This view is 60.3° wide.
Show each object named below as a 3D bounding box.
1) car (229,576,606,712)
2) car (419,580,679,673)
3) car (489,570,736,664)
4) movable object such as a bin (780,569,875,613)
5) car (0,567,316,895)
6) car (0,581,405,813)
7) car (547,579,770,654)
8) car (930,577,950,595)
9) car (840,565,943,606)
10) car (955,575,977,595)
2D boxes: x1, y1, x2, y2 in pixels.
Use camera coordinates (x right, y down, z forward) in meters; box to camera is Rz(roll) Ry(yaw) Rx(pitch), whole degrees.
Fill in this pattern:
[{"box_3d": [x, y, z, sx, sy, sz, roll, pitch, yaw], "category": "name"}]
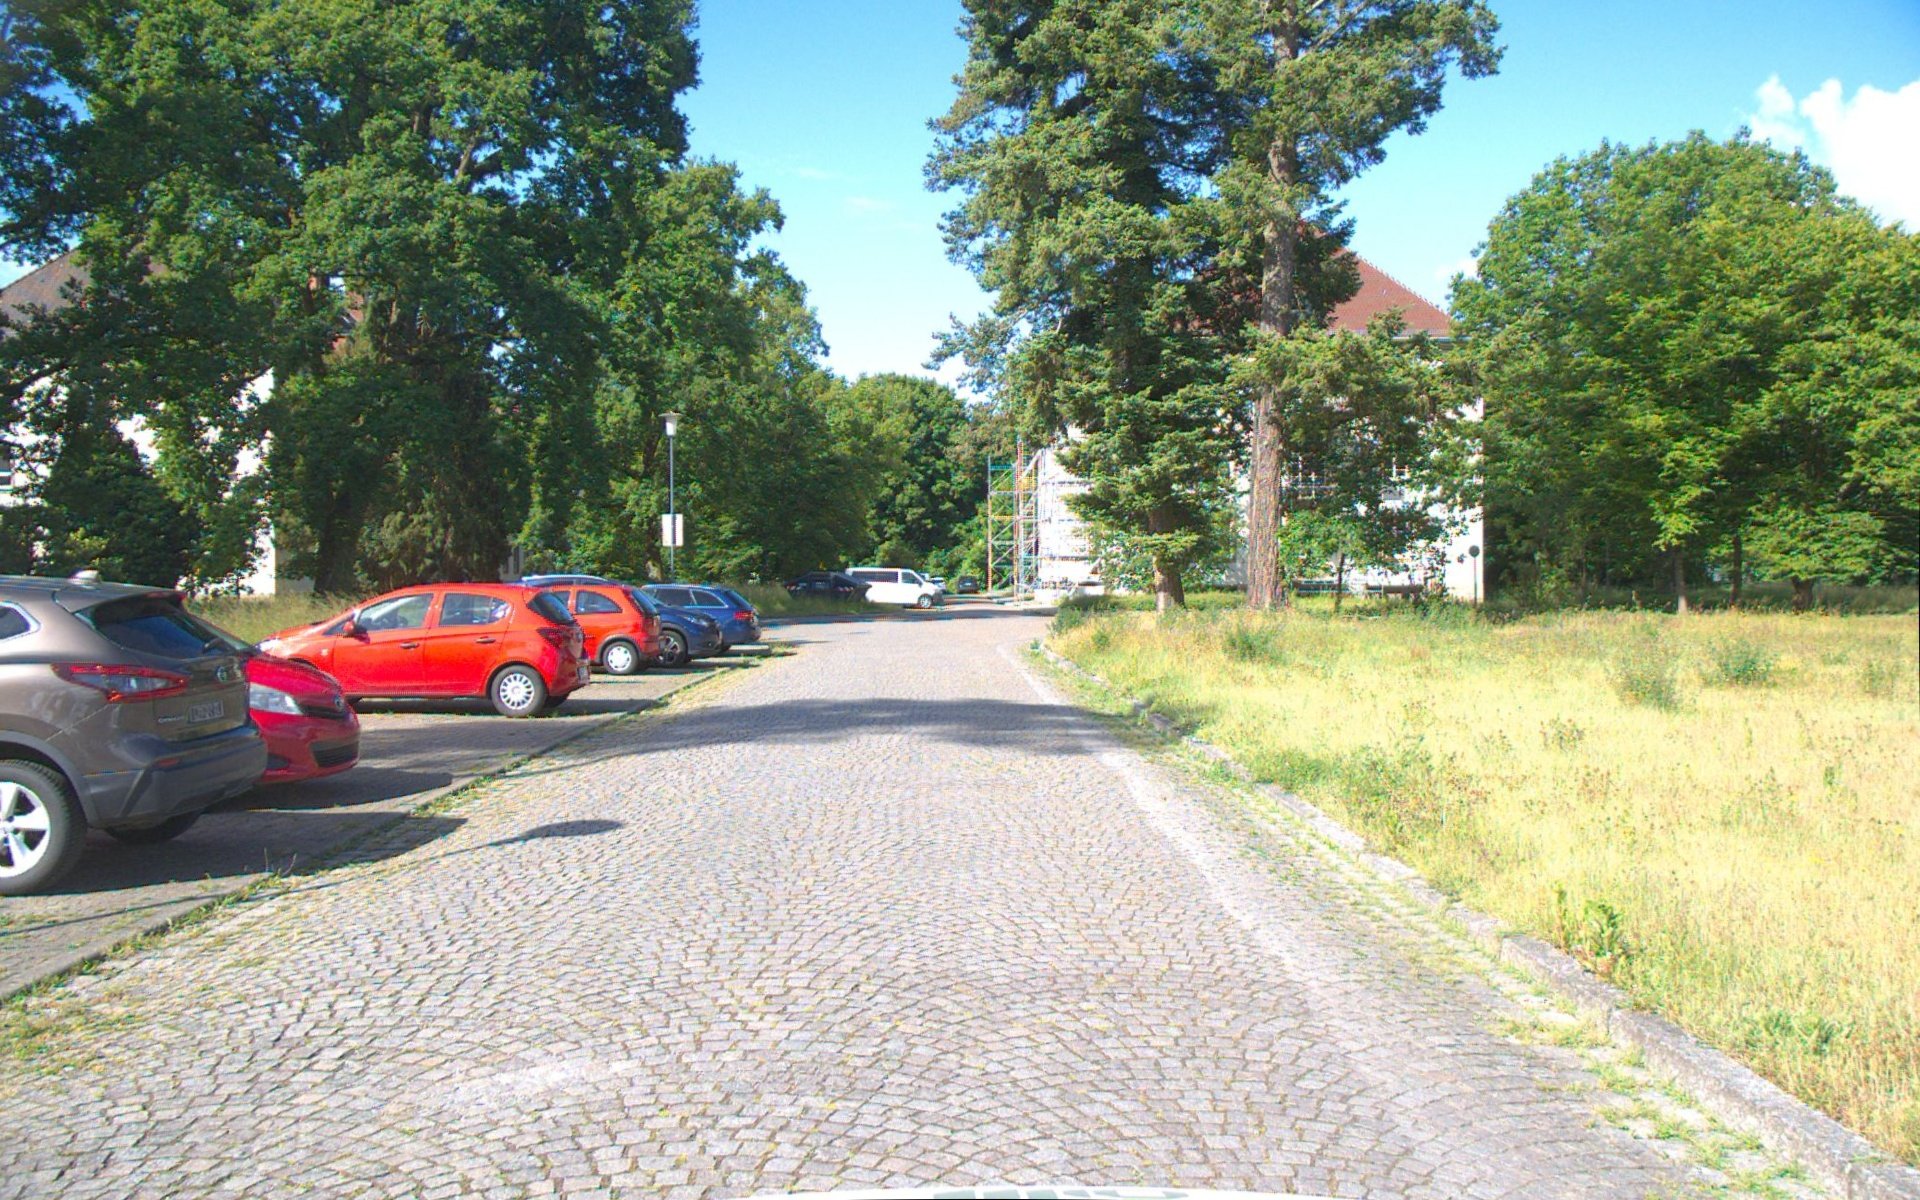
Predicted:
[{"box_3d": [-6.288, 0.486, 19.509, 3.844, 1.486, 1.841, 1, 1, -3], "category": "car"}, {"box_3d": [-6.745, 0.421, 27.422, 3.843, 1.458, 1.842, 0, 1, 0], "category": "car"}, {"box_3d": [-6.191, 0.283, 29.794, 4.051, 1.607, 1.884, 0, 1, -1], "category": "car"}, {"box_3d": [-5.607, -0.397, 70.275, 3.490, 1.775, 2.026, -1, 1, 18], "category": "movable object such as a bin"}, {"box_3d": [-5.903, 0.623, 9.192, 3.874, 1.595, 1.973, 1, 1, -3], "category": "car"}, {"box_3d": [-6.239, 0.633, 11.917, 3.845, 1.474, 1.866, 1, 1, -3], "category": "car"}, {"box_3d": [-6.223, 0.323, 34.478, 4.269, 1.470, 1.921, 0, 1, 2], "category": "car"}, {"box_3d": [-1.814, -1.285, 149.470, 1.775, 1.607, 4.134, -1, 1, -1], "category": "car"}, {"box_3d": [-3.433, -0.737, 83.419, 5.128, 2.051, 1.949, 0, 0, -2], "category": "car"}, {"box_3d": [0.535, -1.375, 149.822, 1.931, 1.697, 4.085, -1, 1, -1], "category": "car"}]
